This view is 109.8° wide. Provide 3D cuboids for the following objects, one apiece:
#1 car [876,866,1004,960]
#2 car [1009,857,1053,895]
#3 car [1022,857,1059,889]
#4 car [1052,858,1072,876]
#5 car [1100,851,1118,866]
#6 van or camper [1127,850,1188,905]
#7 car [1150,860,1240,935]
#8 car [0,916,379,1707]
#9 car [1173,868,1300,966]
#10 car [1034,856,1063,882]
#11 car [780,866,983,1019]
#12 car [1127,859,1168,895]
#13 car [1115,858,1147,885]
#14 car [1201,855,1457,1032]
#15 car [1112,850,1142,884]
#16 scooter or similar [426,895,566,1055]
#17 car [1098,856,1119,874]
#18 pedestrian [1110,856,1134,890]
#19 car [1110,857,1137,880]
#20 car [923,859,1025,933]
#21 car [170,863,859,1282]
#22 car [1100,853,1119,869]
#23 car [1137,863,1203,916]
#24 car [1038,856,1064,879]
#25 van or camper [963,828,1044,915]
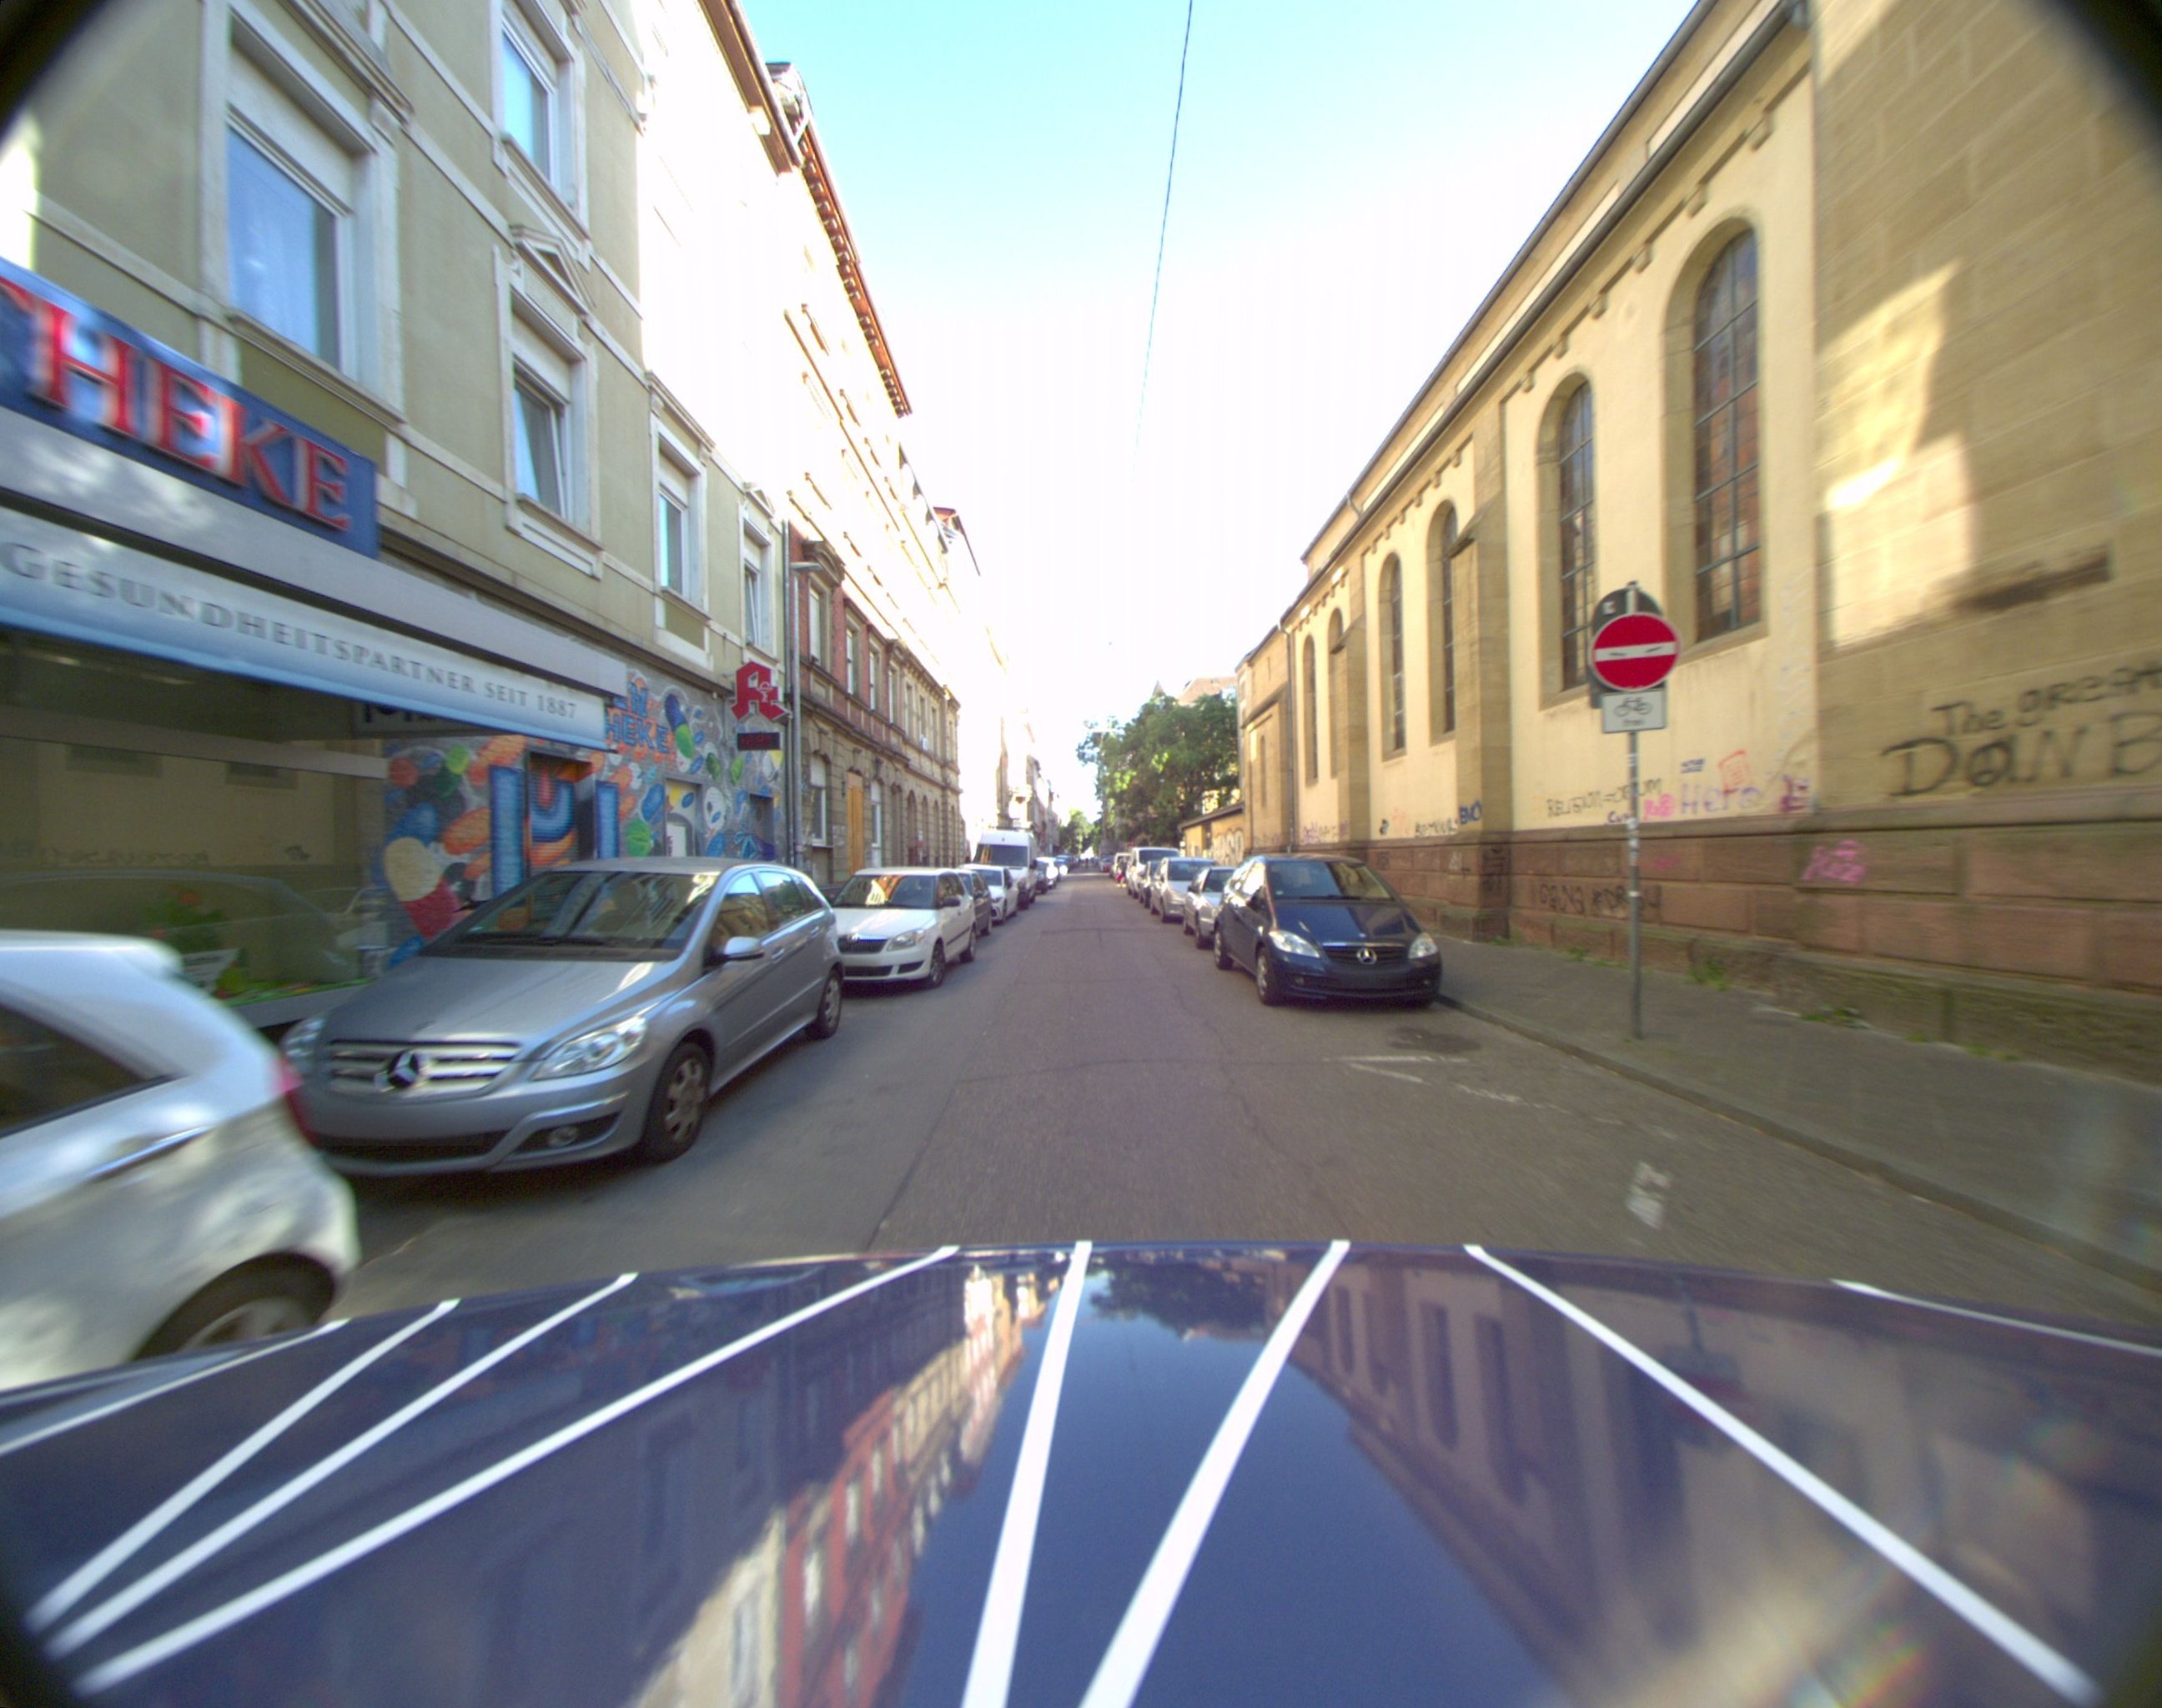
[{"bbox_3d":[-2.664,1.066,15.241,1.590,1.478,3.912,-2,1,3],"label":"car"},{"bbox_3d":[-2.273,0.993,35.381,1.696,1.615,3.813,-2,0,1],"label":"car"},{"bbox_3d":[-2.116,0.974,40.791,1.696,1.615,3.963,-2,0,1],"label":"car"},{"bbox_3d":[-1.803,1.182,73.029,1.696,1.615,3.963,-2,0,1],"label":"car"},{"bbox_3d":[3.199,0.532,86.854,1.777,1.614,4.022,-2,0,-1],"label":"car"},{"bbox_3d":[2.948,0.859,30.147,1.984,1.939,4.563,-2,0,1],"label":"van or camper"},{"bbox_3d":[2.758,1.000,19.159,1.724,1.558,4.000,-2,1,1],"label":"car"},{"bbox_3d":[-2.902,0.961,0.402,1.694,1.454,3.639,-2,1,-2],"label":"car"},{"bbox_3d":[2.682,1.025,13.965,1.576,1.356,4.146,-2,1,2],"label":"car"},{"bbox_3d":[-2.169,0.994,51.945,1.696,1.615,3.963,-2,0,1],"label":"car"},{"bbox_3d":[-2.462,1.008,10.443,1.558,1.517,4.200,-2,1,1],"label":"car"},{"bbox_3d":[3.096,1.037,36.056,1.653,1.557,3.640,-2,0,1],"label":"car"},{"bbox_3d":[3.000,1.047,46.423,1.696,1.529,3.813,-2,0,1],"label":"car"},{"bbox_3d":[2.618,0.846,9.021,1.798,1.543,3.834,-2,1,1],"label":"car"},{"bbox_3d":[3.114,0.851,51.834,1.777,2.128,4.022,-2,0,1],"label":"car"},{"bbox_3d":[-5.276,1.046,6.914,0.396,1.272,1.036,-2,1,0],"label":"scooter or similar"},{"bbox_3d":[2.720,1.073,75.818,1.777,1.614,4.022,-2,0,-1],"label":"car"},{"bbox_3d":[2.112,0.990,39.254,0.827,1.703,0.876,-3,1,31],"label":"pedestrian"},{"bbox_3d":[3.173,1.063,57.317,1.777,1.614,4.022,-2,0,-1],"label":"car"},{"bbox_3d":[-2.739,1.022,20.554,1.998,1.637,4.563,-2,1,1],"label":"car"},{"bbox_3d":[-3.002,0.960,5.283,1.704,1.641,4.063,-2,1,-1],"label":"car"},{"bbox_3d":[3.025,0.748,80.469,1.777,1.614,4.022,-2,0,-1],"label":"car"},{"bbox_3d":[2.776,1.073,24.439,1.696,1.472,3.736,-2,0,1],"label":"car"},{"bbox_3d":[-2.217,0.975,57.124,1.696,1.615,3.963,-2,0,1],"label":"car"},{"bbox_3d":[-2.543,0.502,26.411,1.998,2.617,5.978,-2,1,1],"label":"van or camper"}]
